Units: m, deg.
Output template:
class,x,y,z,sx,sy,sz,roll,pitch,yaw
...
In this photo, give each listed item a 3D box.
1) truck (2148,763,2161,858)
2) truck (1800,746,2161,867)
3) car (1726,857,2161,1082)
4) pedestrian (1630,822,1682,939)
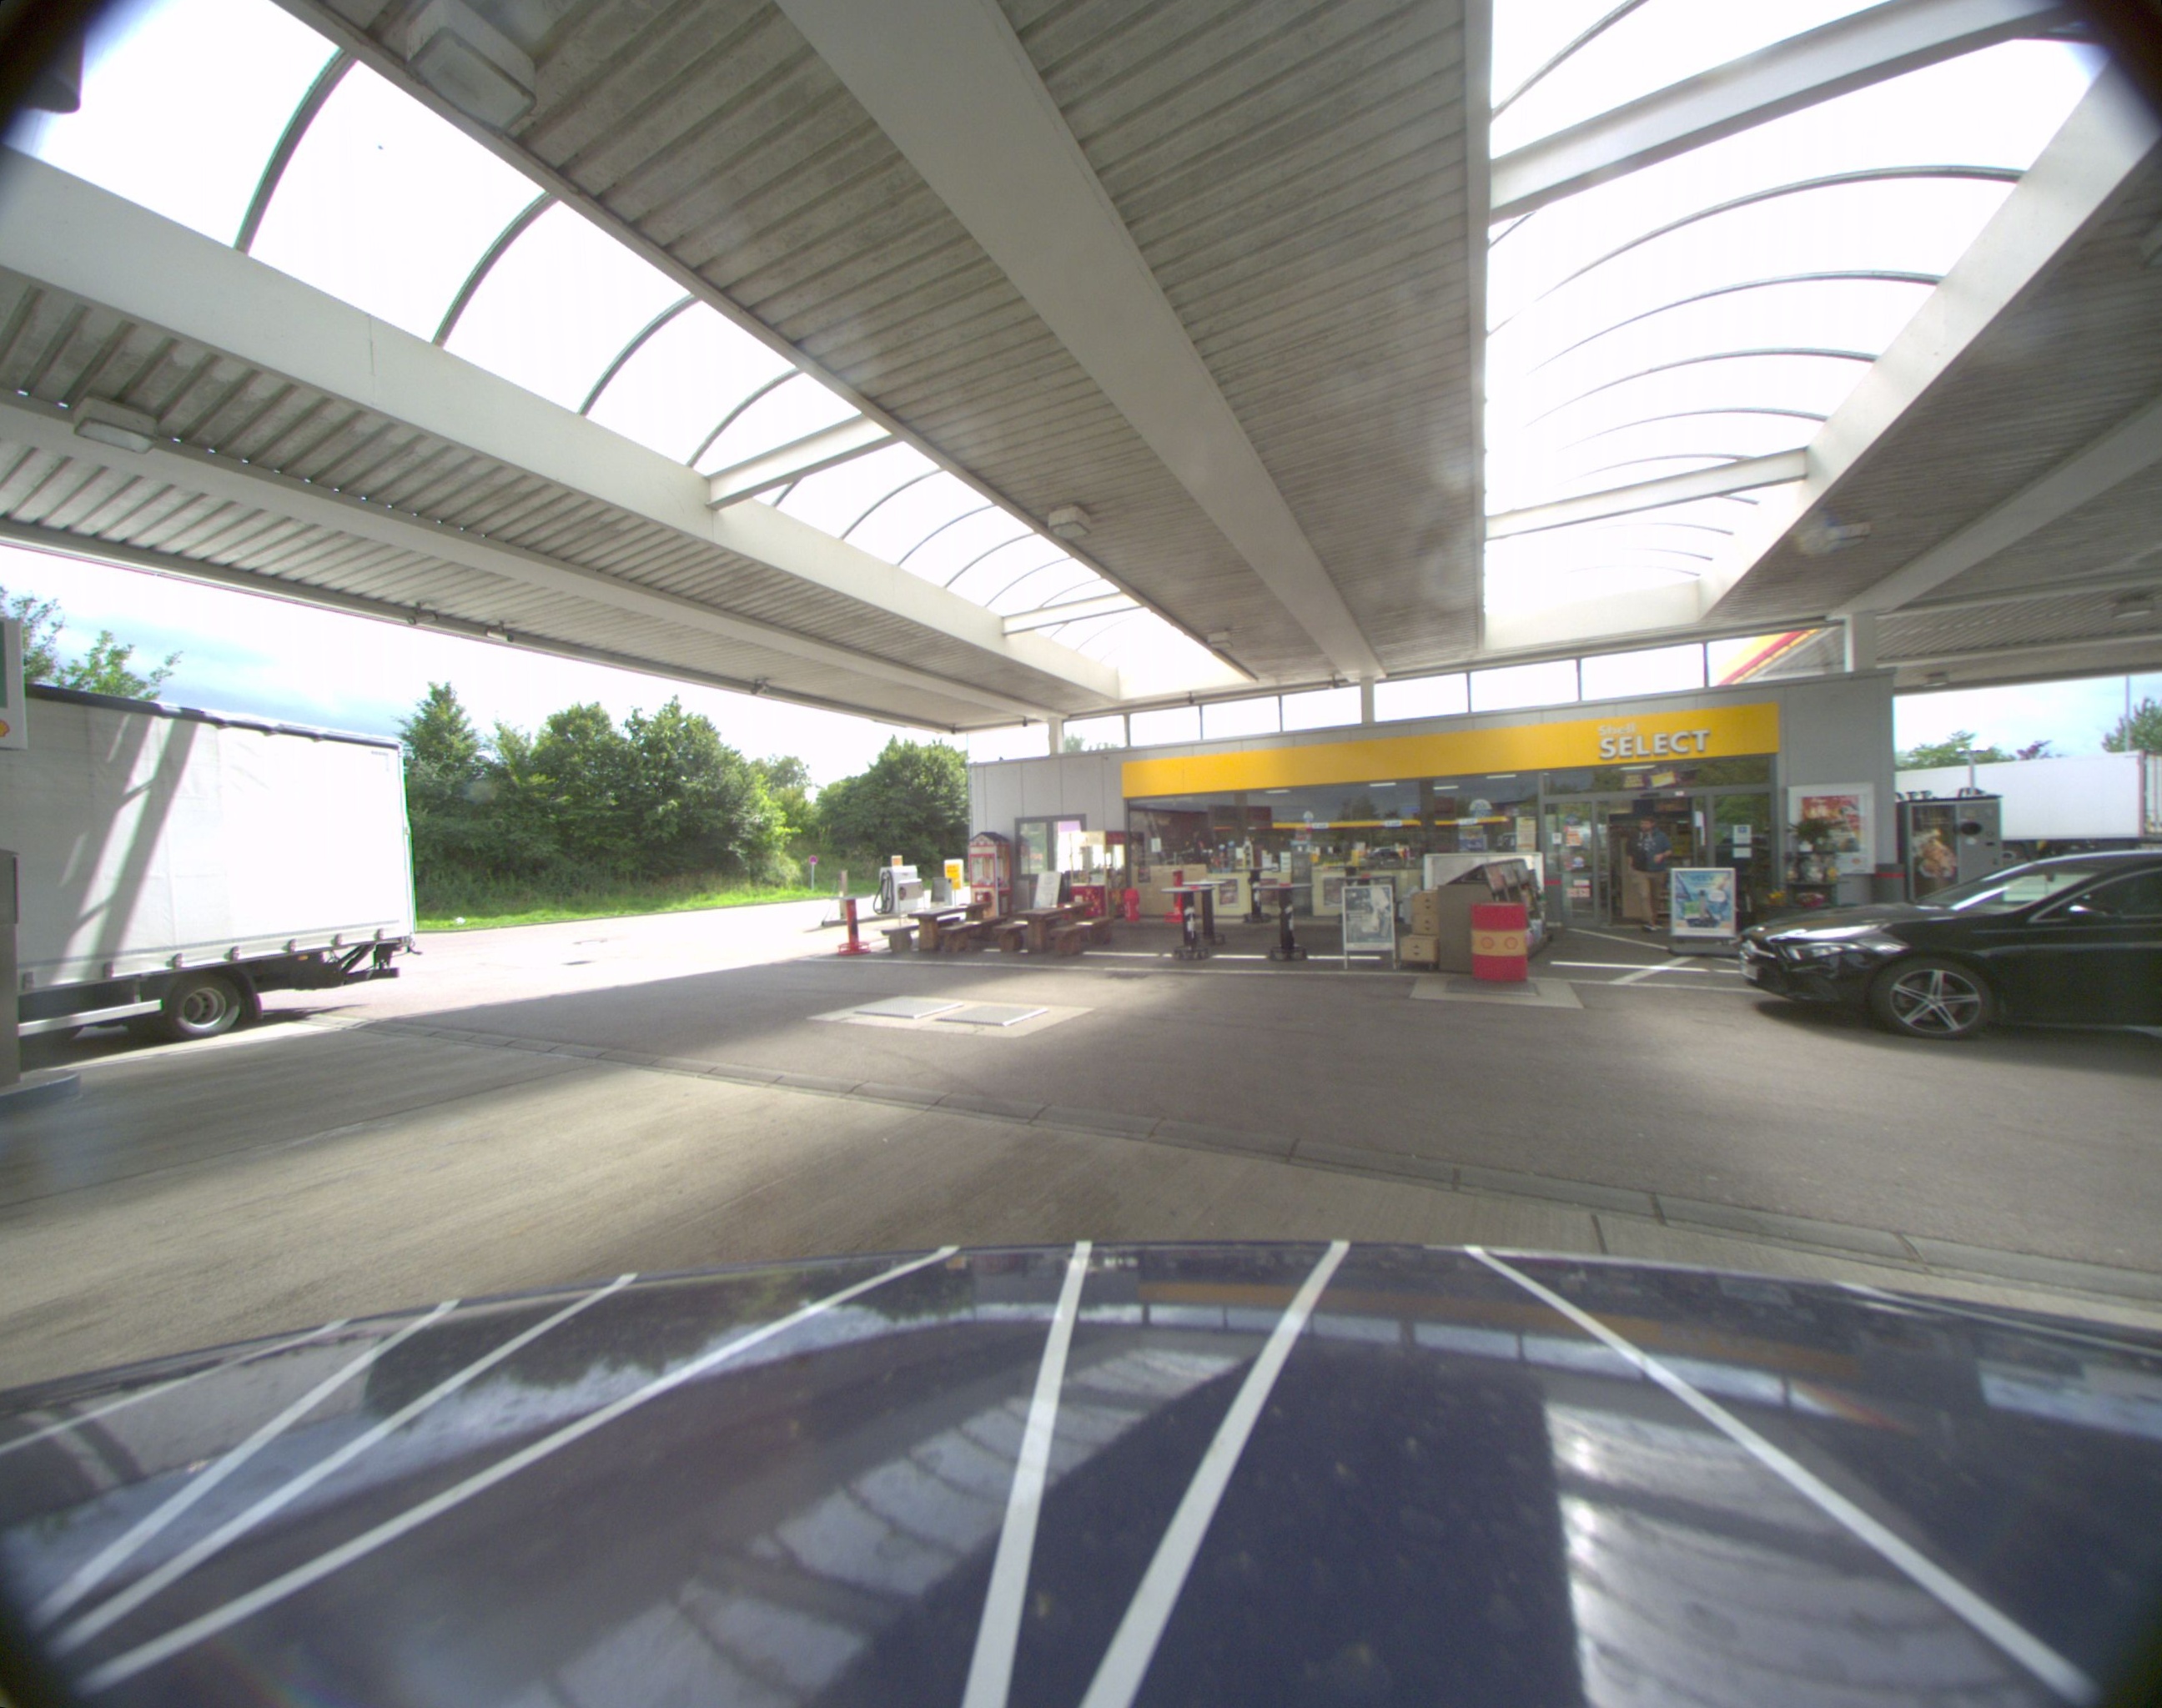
class,x,y,z,sx,sy,sz,roll,pitch,yaw
truck,51.494,-2.037,33.163,3.383,4.479,6.239,-2,1,29
truck,35.146,-1.612,30.083,2.796,3.982,9.578,-2,1,-16
car,8.161,0.813,5.945,4.461,1.491,1.782,-2,1,28
pedestrian,9.590,0.430,12.682,0.580,1.895,0.510,-2,1,27
